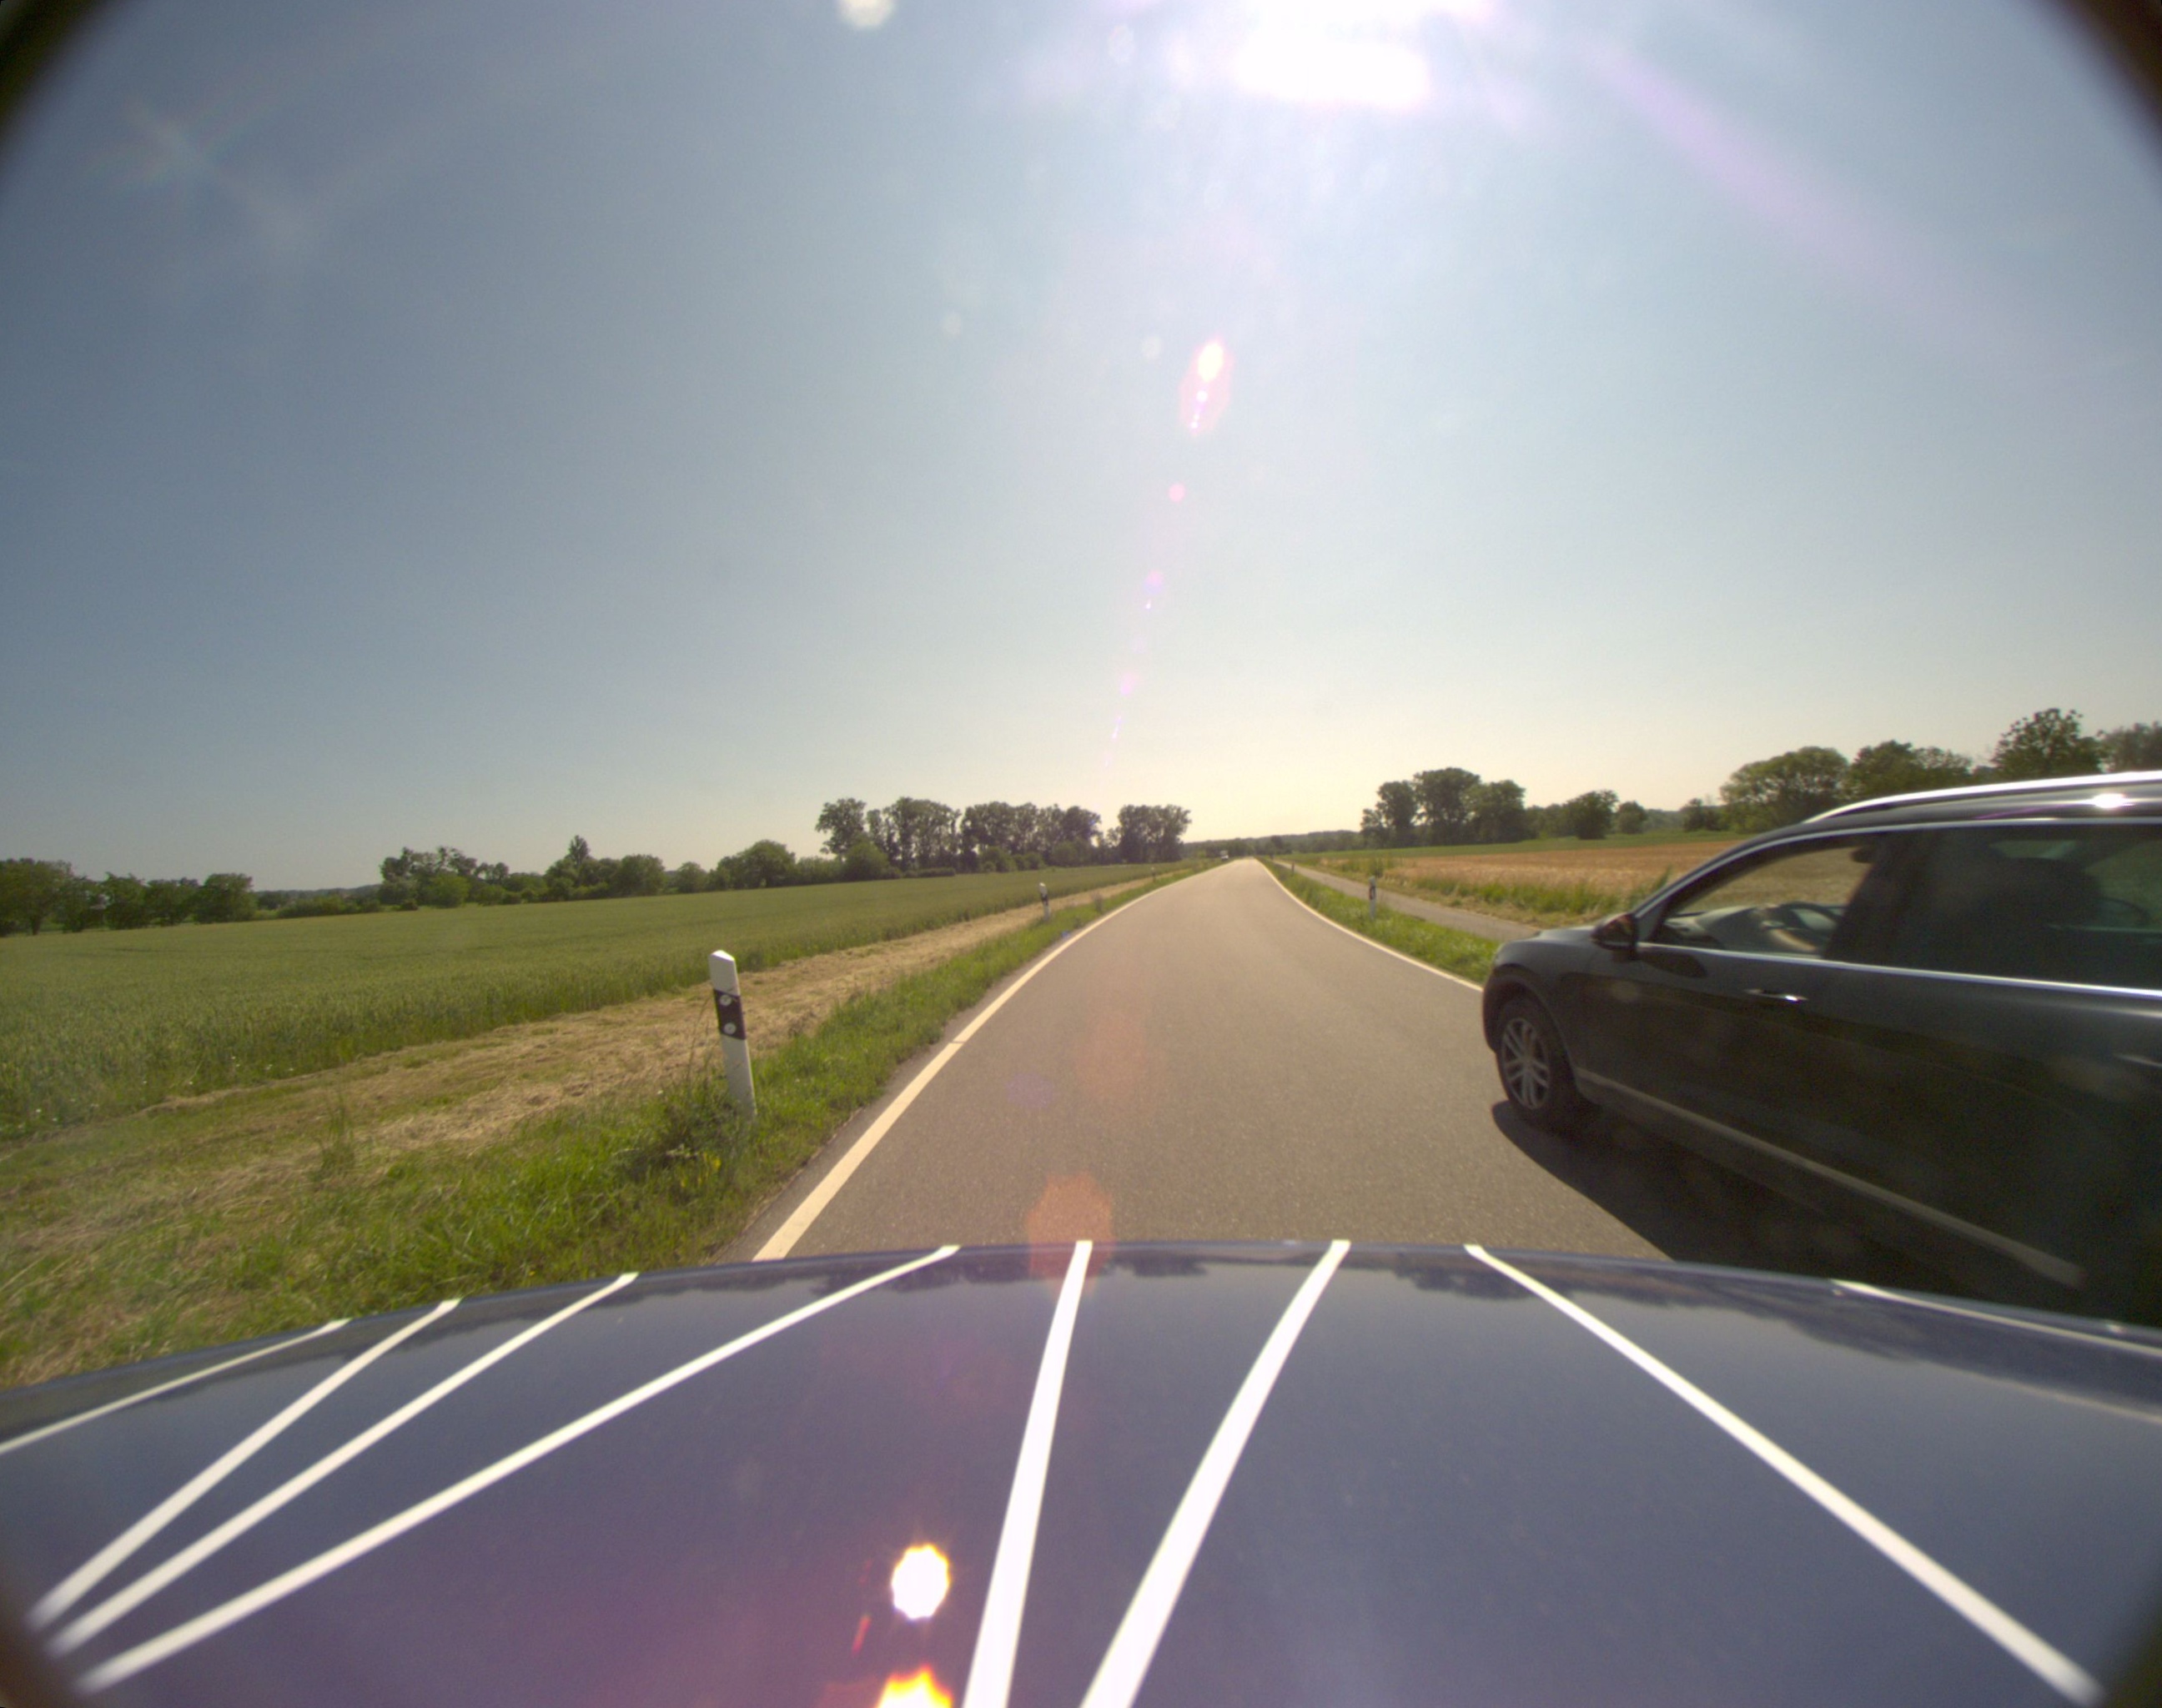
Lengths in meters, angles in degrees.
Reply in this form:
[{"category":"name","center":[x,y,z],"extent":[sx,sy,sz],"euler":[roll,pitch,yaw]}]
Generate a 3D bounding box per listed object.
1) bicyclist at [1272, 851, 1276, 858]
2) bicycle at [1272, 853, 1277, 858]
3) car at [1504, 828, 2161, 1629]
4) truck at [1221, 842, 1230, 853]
[{"category":"bicyclist","center":[41.818,0.016,164.338],"extent":[0.742,1.487,1.004],"euler":[-3,0,13]},{"category":"bicycle","center":[41.844,0.303,164.334],"extent":[0.742,1.165,2.084],"euler":[-3,0,13]},{"category":"car","center":[3.242,0.782,2.106],"extent":[1.891,1.704,4.014],"euler":[-2,0,1]},{"category":"truck","center":[41.558,-1.887,218.174],"extent":[1.997,2.821,5.222],"euler":[-3,0,13]}]
